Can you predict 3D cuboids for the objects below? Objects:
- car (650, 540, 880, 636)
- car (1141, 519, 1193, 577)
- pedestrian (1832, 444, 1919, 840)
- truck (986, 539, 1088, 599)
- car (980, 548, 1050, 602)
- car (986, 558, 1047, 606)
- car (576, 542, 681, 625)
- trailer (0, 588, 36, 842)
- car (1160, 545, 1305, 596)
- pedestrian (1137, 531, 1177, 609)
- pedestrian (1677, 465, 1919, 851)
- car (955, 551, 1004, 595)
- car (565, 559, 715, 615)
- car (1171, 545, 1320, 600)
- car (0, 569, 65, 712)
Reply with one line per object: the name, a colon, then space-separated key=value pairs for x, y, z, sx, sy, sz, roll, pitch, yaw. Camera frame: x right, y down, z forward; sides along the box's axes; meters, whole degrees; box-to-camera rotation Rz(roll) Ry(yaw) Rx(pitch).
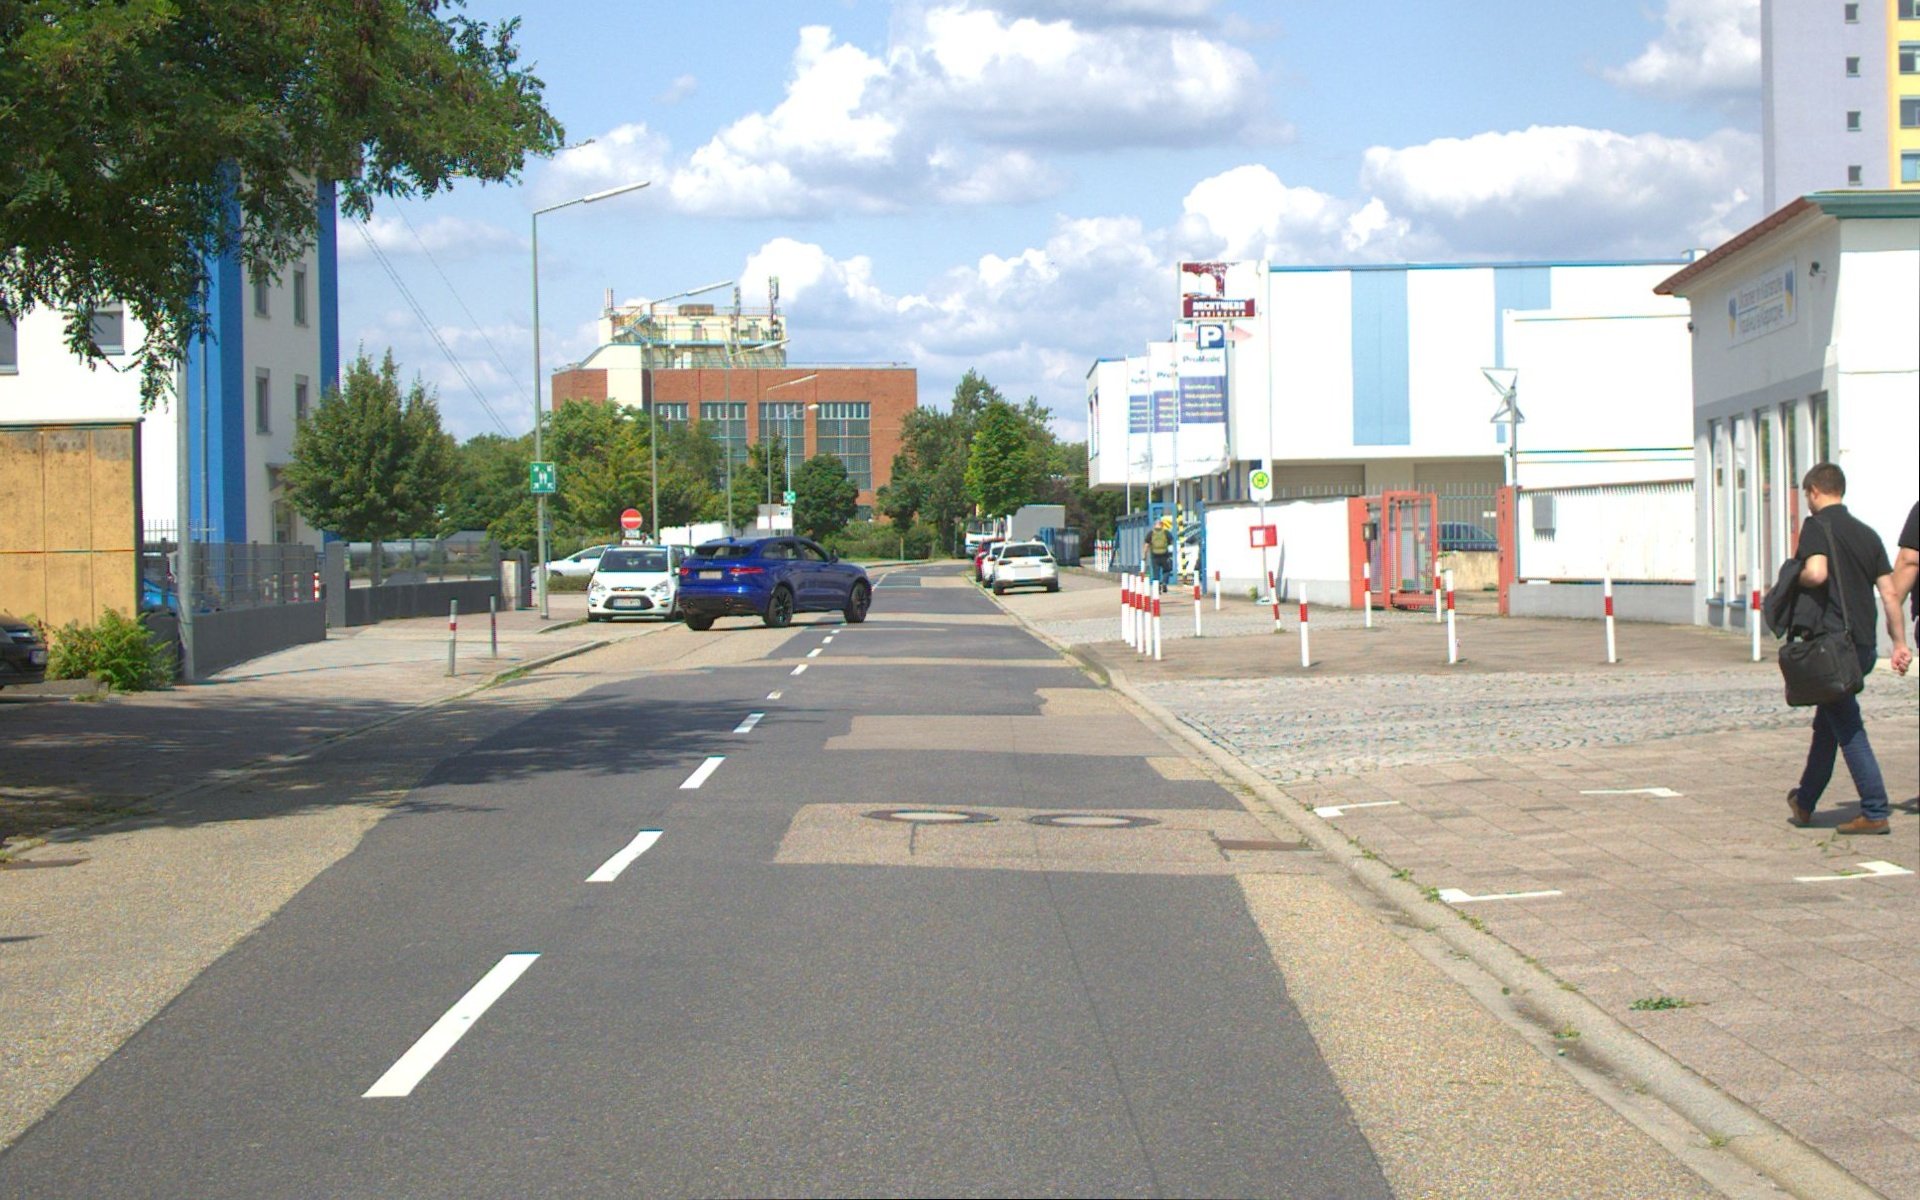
car: x=-3.536 y=-0.240 z=63.320 sx=1.913 sy=1.587 sz=4.694 roll=-1 pitch=1 yaw=30
car: x=8.966 y=-2.240 z=149.192 sx=1.924 sy=2.455 sz=5.260 roll=0 pitch=1 yaw=0
pedestrian: x=5.129 y=0.192 z=17.179 sx=0.989 sy=1.945 sz=1.091 roll=-2 pitch=1 yaw=-23
truck: x=4.983 y=-1.994 z=220.067 sx=2.325 sy=3.555 sz=9.352 roll=1 pitch=3 yaw=30
car: x=1.563 y=-0.746 z=99.594 sx=1.867 sy=1.515 sz=4.598 roll=0 pitch=1 yaw=-1
car: x=1.820 y=-0.602 z=112.651 sx=1.835 sy=1.515 sz=4.461 roll=0 pitch=1 yaw=-1
car: x=-7.006 y=-0.378 z=73.026 sx=1.867 sy=1.702 sz=4.753 roll=0 pitch=1 yaw=-1
trailer: x=-6.293 y=0.653 z=17.968 sx=1.767 sy=1.434 sz=4.336 roll=2 pitch=1 yaw=-1
car: x=8.386 y=-0.908 z=105.957 sx=4.279 sy=1.415 sz=2.000 roll=-2 pitch=1 yaw=0
pedestrian: x=4.544 y=-0.697 z=79.334 sx=0.769 sy=1.750 sz=0.787 roll=-3 pitch=1 yaw=-1
pedestrian: x=4.173 y=0.263 z=16.772 sx=0.856 sy=1.801 sz=1.006 roll=-2 pitch=1 yaw=-23
car: x=0.756 y=-1.039 z=131.413 sx=1.755 sy=1.645 sz=4.677 roll=0 pitch=1 yaw=1
car: x=-10.385 y=-0.433 z=111.817 sx=4.754 sy=1.597 sz=2.000 roll=-3 pitch=1 yaw=-4
car: x=7.960 y=-0.778 z=96.096 sx=3.987 sy=1.415 sz=2.000 roll=-2 pitch=1 yaw=0
car: x=-10.983 y=0.368 z=33.580 sx=3.993 sy=1.357 sz=1.794 roll=0 pitch=0 yaw=3
